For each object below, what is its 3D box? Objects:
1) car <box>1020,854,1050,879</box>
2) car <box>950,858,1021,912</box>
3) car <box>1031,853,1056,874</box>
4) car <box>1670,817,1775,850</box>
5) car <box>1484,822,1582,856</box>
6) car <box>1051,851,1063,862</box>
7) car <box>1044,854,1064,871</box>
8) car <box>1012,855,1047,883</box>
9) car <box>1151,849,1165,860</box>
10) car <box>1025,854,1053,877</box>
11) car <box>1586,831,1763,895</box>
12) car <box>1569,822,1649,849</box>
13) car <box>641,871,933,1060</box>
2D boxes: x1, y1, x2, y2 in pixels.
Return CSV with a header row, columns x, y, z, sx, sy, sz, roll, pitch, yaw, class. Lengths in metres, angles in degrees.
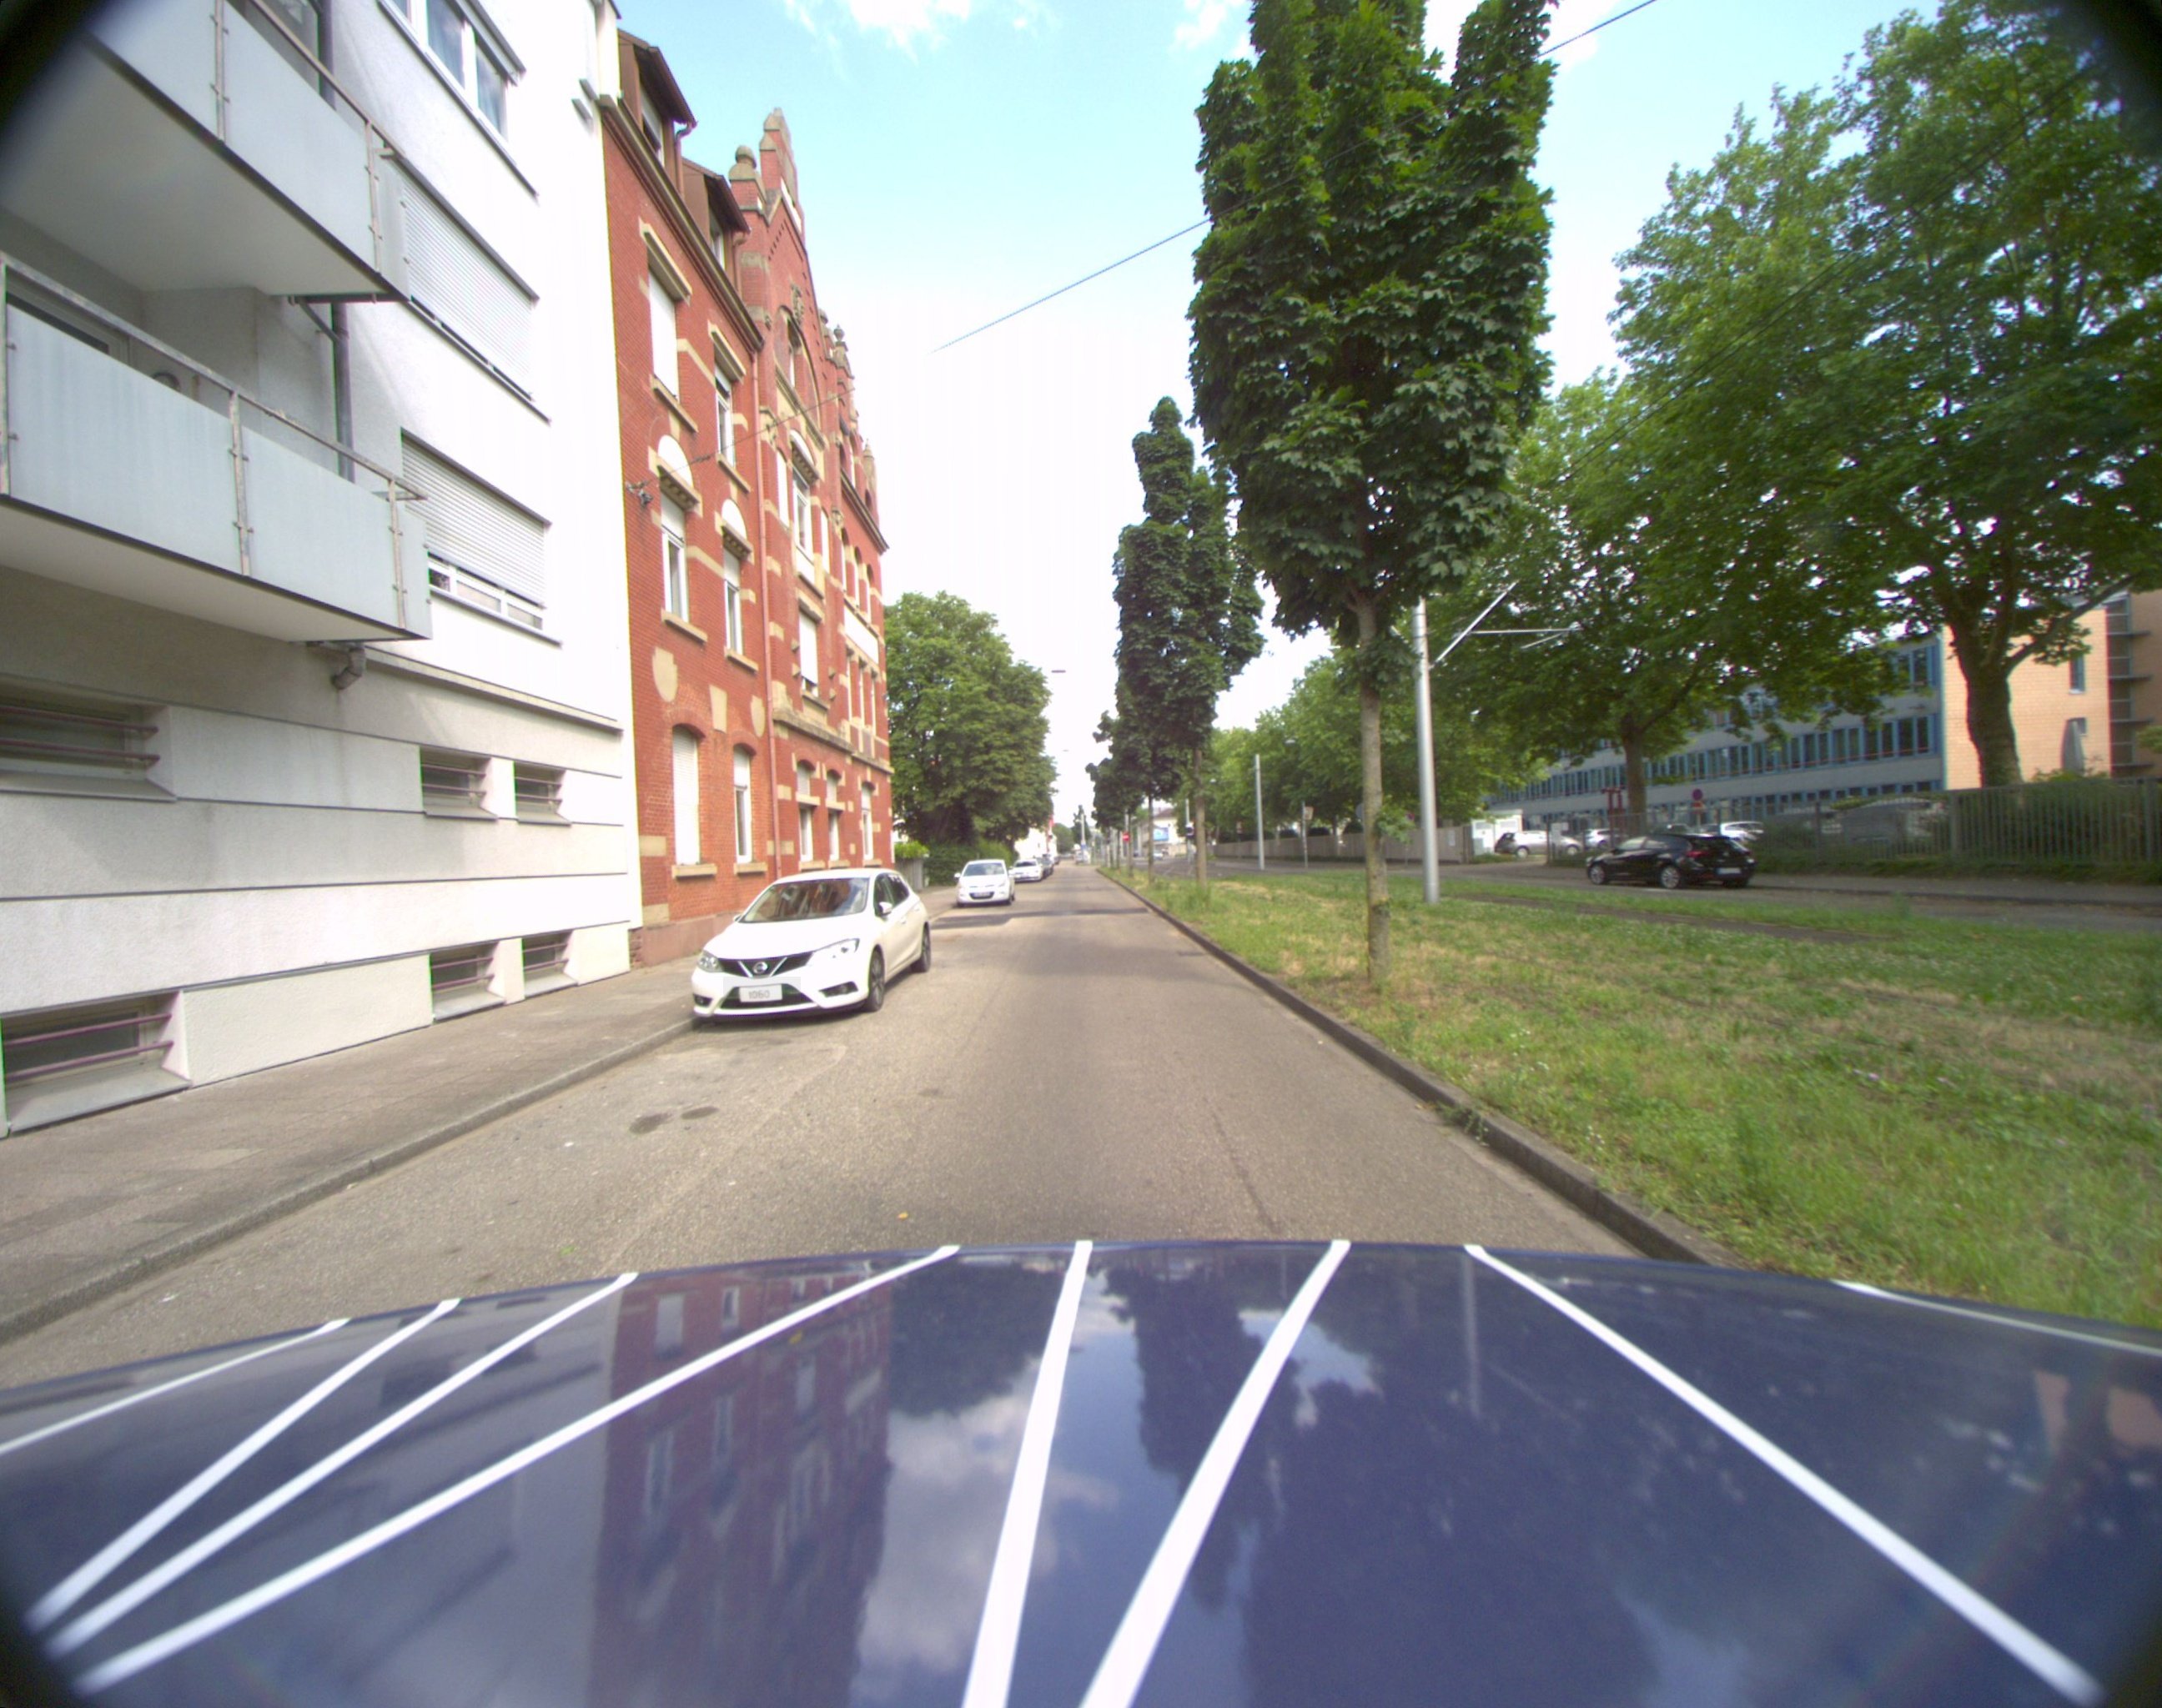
x,y,z,sx,sy,sz,roll,pitch,yaw,class
-3.164,0.810,53.042,1.801,1.521,4.040,-5,0,0,car
-3.078,0.955,25.307,1.801,1.521,4.040,-4,0,0,car
-3.134,0.791,63.915,1.801,1.521,4.040,-5,0,0,car
34.562,-1.112,41.006,3.997,1.608,1.999,-2,1,-2,car
23.964,-0.794,40.369,3.997,1.608,1.999,-2,1,-2,car
-3.847,0.431,122.114,1.801,1.521,4.040,-5,0,0,car
-2.723,0.810,77.067,1.801,1.521,4.040,-5,0,0,car
-3.126,0.886,46.807,1.801,1.521,4.040,-5,0,0,car
11.960,0.083,118.189,1.801,1.521,4.040,-4,0,0,car
-3.202,0.845,58.502,1.801,1.521,4.040,-5,0,0,car
15.552,0.200,20.201,1.601,1.455,4.000,-3,0,2,car
35.378,-1.234,50.995,3.997,1.608,1.999,-2,1,-2,car
-3.065,1.059,8.947,1.801,1.521,4.040,-3,0,0,car
